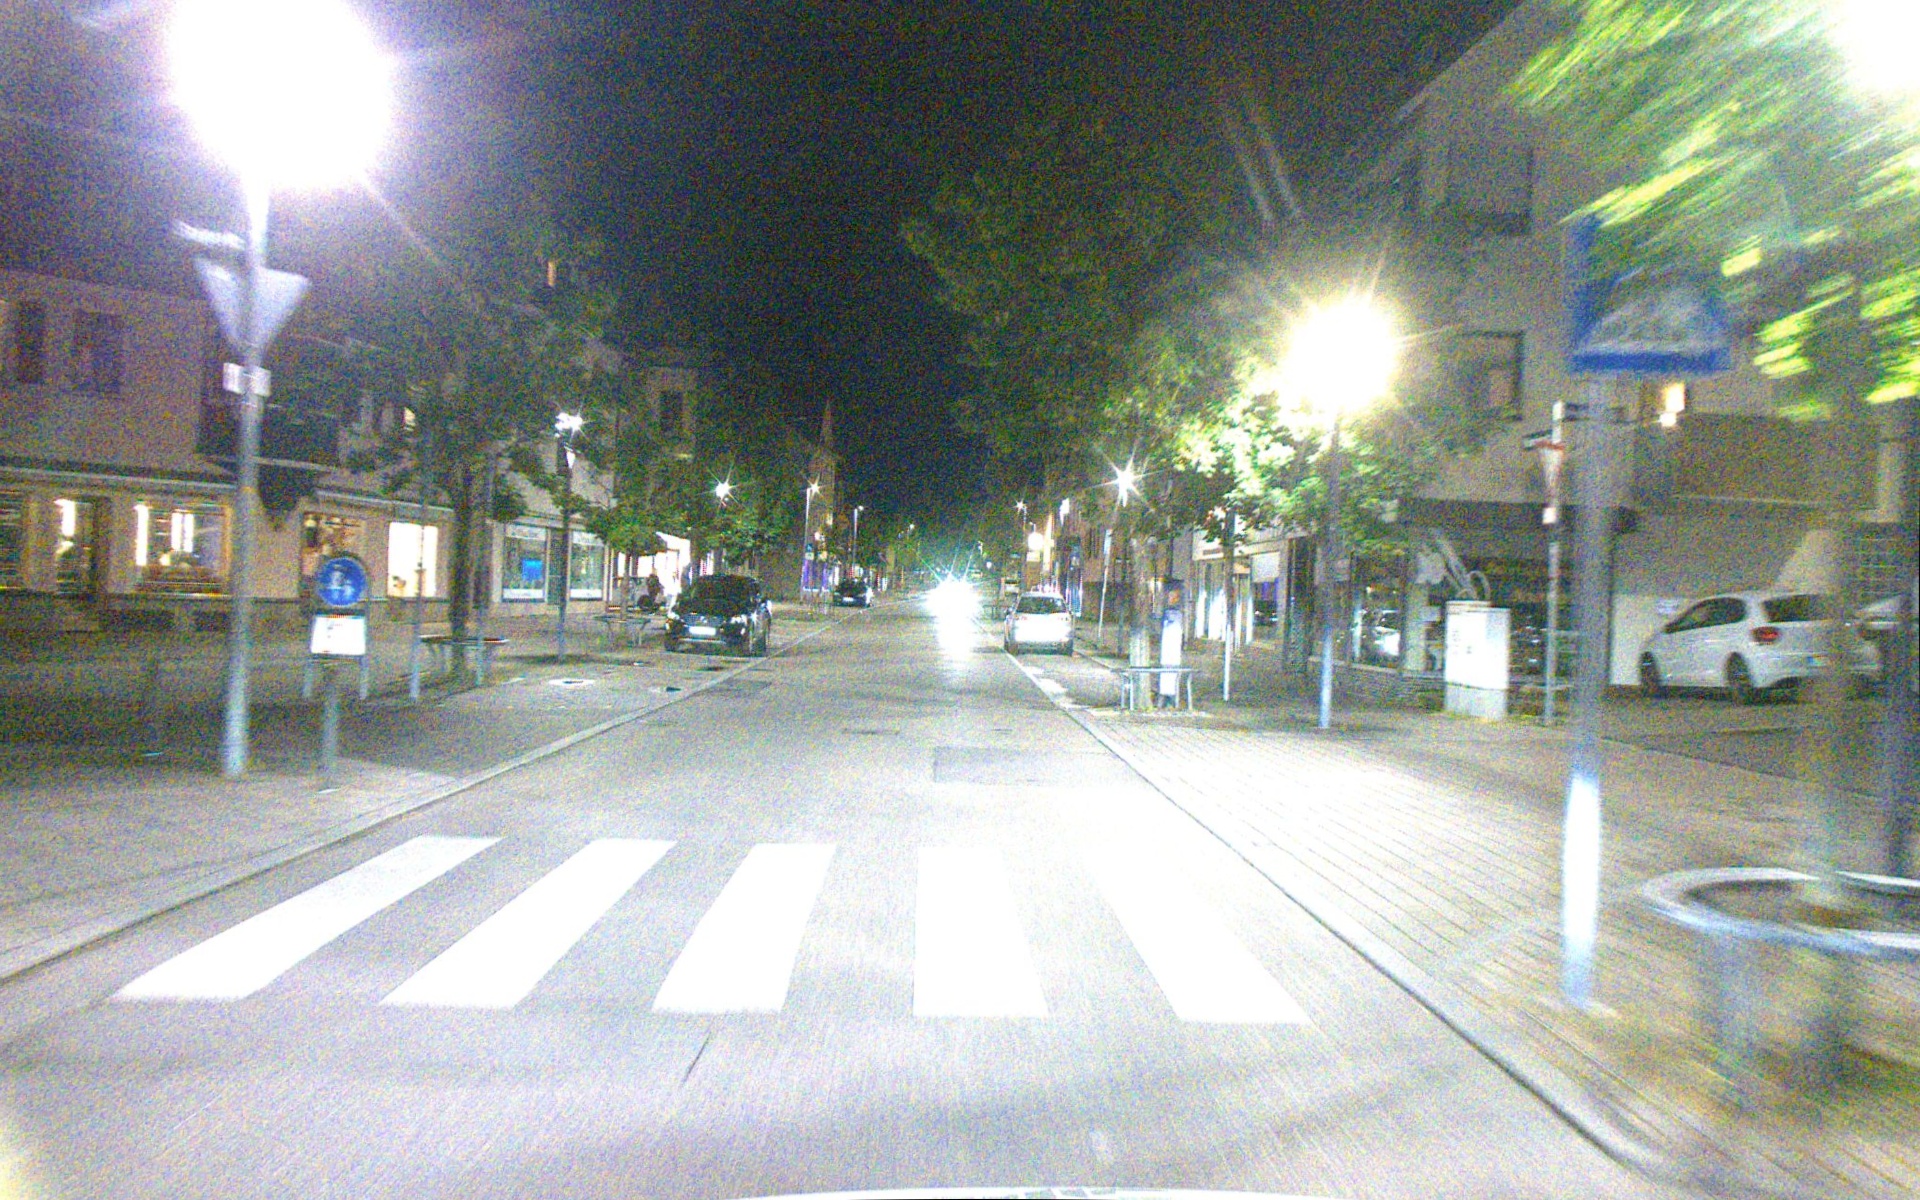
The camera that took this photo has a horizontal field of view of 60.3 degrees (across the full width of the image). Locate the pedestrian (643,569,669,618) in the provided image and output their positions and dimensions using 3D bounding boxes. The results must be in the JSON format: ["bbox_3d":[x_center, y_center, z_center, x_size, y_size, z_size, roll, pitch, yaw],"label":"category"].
[{"bbox_3d":[-10.889,-0.234,59.297,0.753,1.684,0.817,2,2,1],"label":"pedestrian"}]

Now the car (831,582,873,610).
[{"bbox_3d":[-5.944,-0.244,91.164,1.875,1.394,4.458,2,1,1],"label":"car"}]

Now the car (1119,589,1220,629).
[{"bbox_3d":[8.677,0.372,68.686,3.907,1.502,1.751,-2,0,-3],"label":"car"}]

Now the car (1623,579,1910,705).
[{"bbox_3d":[10.837,0.555,22.575,1.768,1.486,4.055,-2,-1,-2],"label":"car"}]

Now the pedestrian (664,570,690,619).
[{"bbox_3d":[-10.095,-0.201,59.097,0.753,1.684,0.782,2,2,1],"label":"pedestrian"}]

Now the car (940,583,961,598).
[{"bbox_3d":[-0.846,-0.881,148.577,1.687,1.268,4.238,2,0,1],"label":"car"}]

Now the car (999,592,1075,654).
[{"bbox_3d":[1.956,0.573,42.900,1.641,1.485,3.674,2,0,-2],"label":"car"}]

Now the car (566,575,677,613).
[{"bbox_3d":[-13.728,-0.252,67.189,4.080,1.463,1.841,-1,0,3],"label":"car"}]

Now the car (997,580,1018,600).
[{"bbox_3d":[4.152,-0.898,144.753,1.739,1.681,4.365,1,1,1],"label":"car"}]

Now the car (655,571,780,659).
[{"bbox_3d":[-5.345,0.296,37.119,1.977,1.720,5.003,3,0,0],"label":"car"}]
